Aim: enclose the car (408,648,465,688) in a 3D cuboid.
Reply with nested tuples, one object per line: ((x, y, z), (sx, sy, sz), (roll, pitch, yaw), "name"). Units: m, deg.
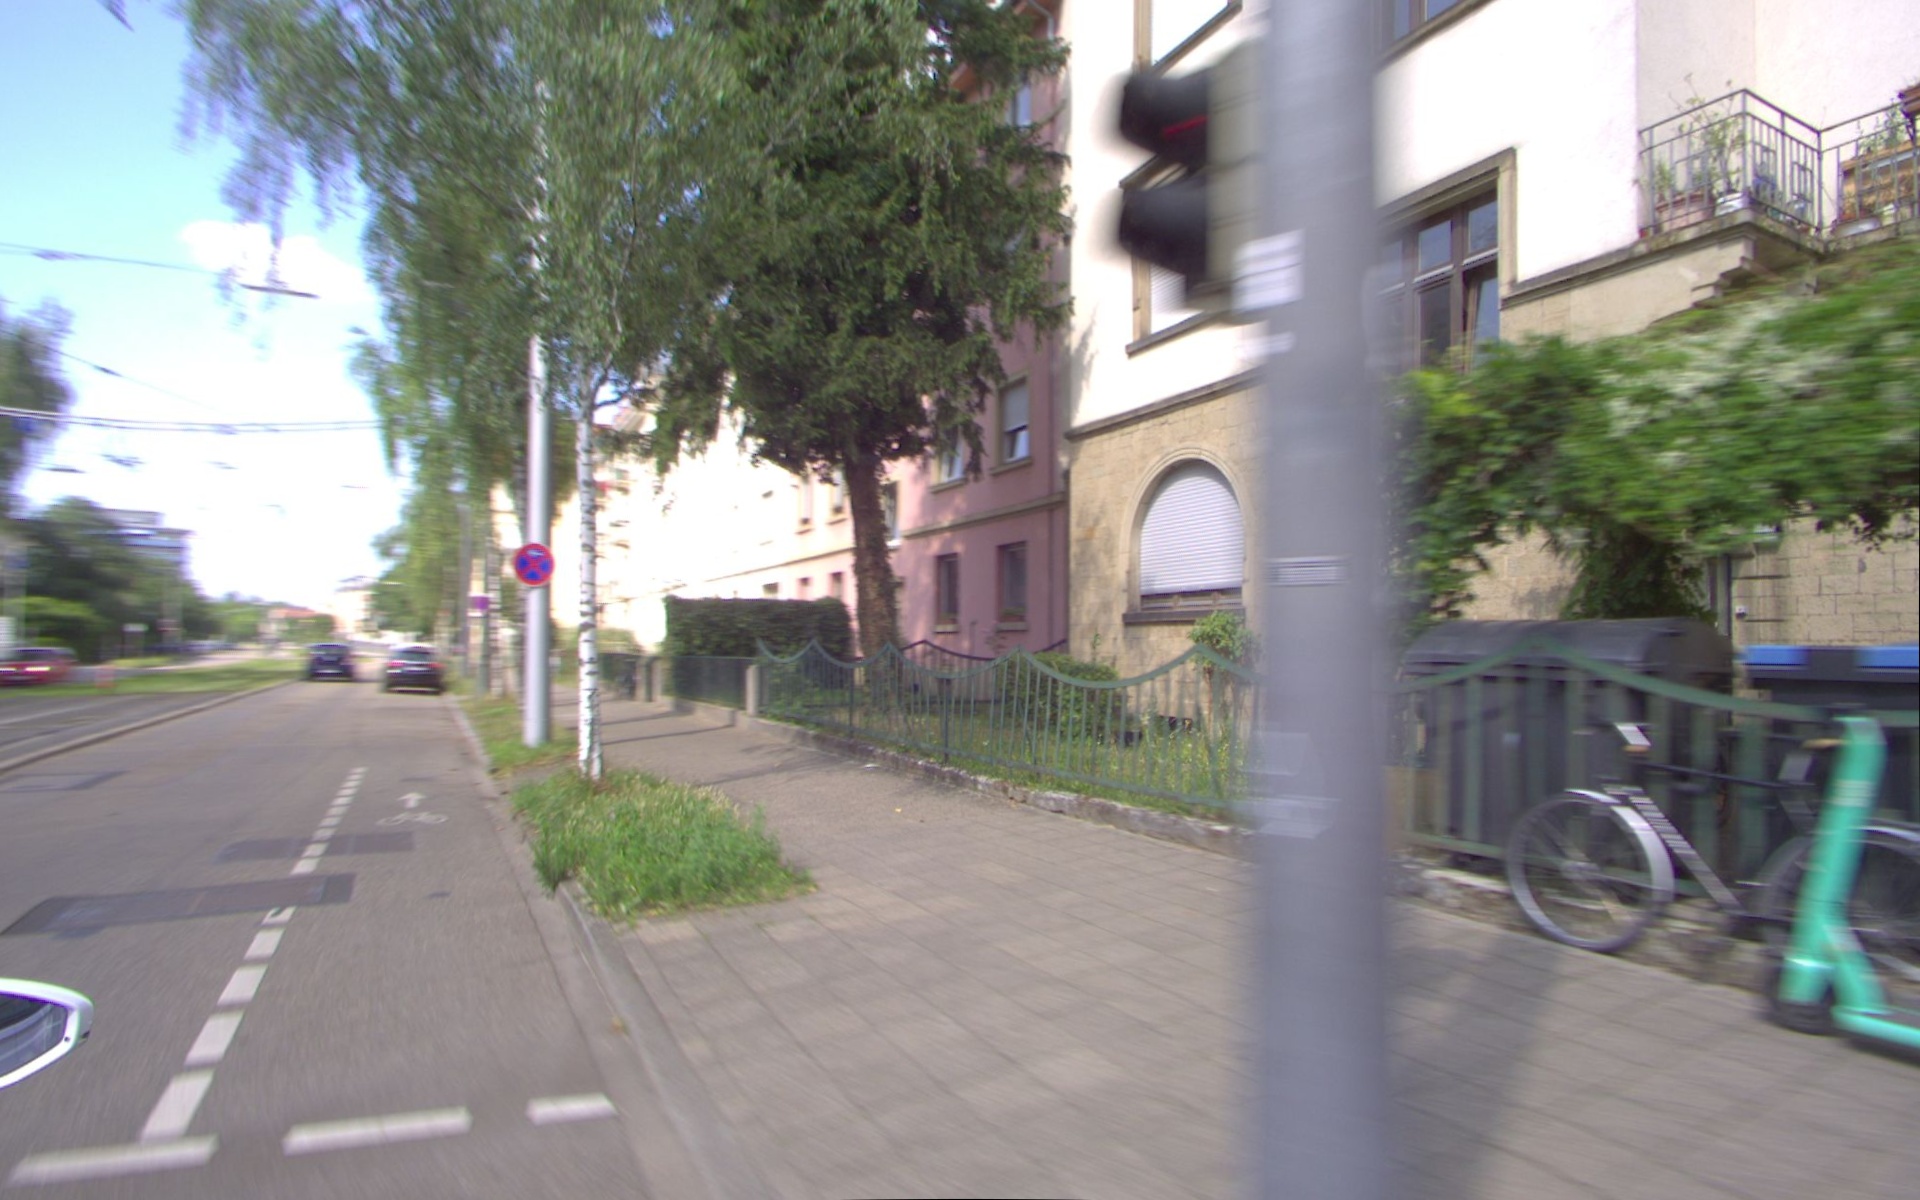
((-20.871, 2.690, 39.968), (1.879, 1.403, 3.797), (4, -3, -27), "car")

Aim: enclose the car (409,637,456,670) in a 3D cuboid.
((-25.380, 2.546, 48.212), (1.879, 1.403, 3.797), (4, -3, -27), "car")

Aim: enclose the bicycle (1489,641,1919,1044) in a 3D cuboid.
((3.086, 0.855, 4.063), (0.273, 1.346, 1.825), (1, -1, -28), "bicycle")

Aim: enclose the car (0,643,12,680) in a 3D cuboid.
((-37.317, 2.340, 37.782), (1.546, 1.403, 3.171), (2, -3, -31), "car")

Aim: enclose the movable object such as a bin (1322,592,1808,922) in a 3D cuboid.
((3.166, 0.717, 5.533), (1.037, 1.431, 2.092), (1, -1, -25), "movable object such as a bin")

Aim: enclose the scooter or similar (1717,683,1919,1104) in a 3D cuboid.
((3.125, 0.908, 3.090), (0.456, 1.232, 1.194), (1, -1, -24), "scooter or similar")

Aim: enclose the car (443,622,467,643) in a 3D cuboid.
((-46.309, 2.993, 91.796), (1.879, 1.820, 3.797), (4, -3, -27), "car")

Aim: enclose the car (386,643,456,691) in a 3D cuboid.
((-17.930, 2.210, 33.408), (1.879, 1.403, 3.797), (4, -3, -27), "car")

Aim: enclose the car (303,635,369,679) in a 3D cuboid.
((-24.903, 2.256, 40.090), (1.879, 1.594, 3.797), (4, -3, -27), "car")

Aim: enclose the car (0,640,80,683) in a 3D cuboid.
((-33.700, 2.214, 36.625), (1.693, 1.460, 3.336), (2, -3, -31), "car")
